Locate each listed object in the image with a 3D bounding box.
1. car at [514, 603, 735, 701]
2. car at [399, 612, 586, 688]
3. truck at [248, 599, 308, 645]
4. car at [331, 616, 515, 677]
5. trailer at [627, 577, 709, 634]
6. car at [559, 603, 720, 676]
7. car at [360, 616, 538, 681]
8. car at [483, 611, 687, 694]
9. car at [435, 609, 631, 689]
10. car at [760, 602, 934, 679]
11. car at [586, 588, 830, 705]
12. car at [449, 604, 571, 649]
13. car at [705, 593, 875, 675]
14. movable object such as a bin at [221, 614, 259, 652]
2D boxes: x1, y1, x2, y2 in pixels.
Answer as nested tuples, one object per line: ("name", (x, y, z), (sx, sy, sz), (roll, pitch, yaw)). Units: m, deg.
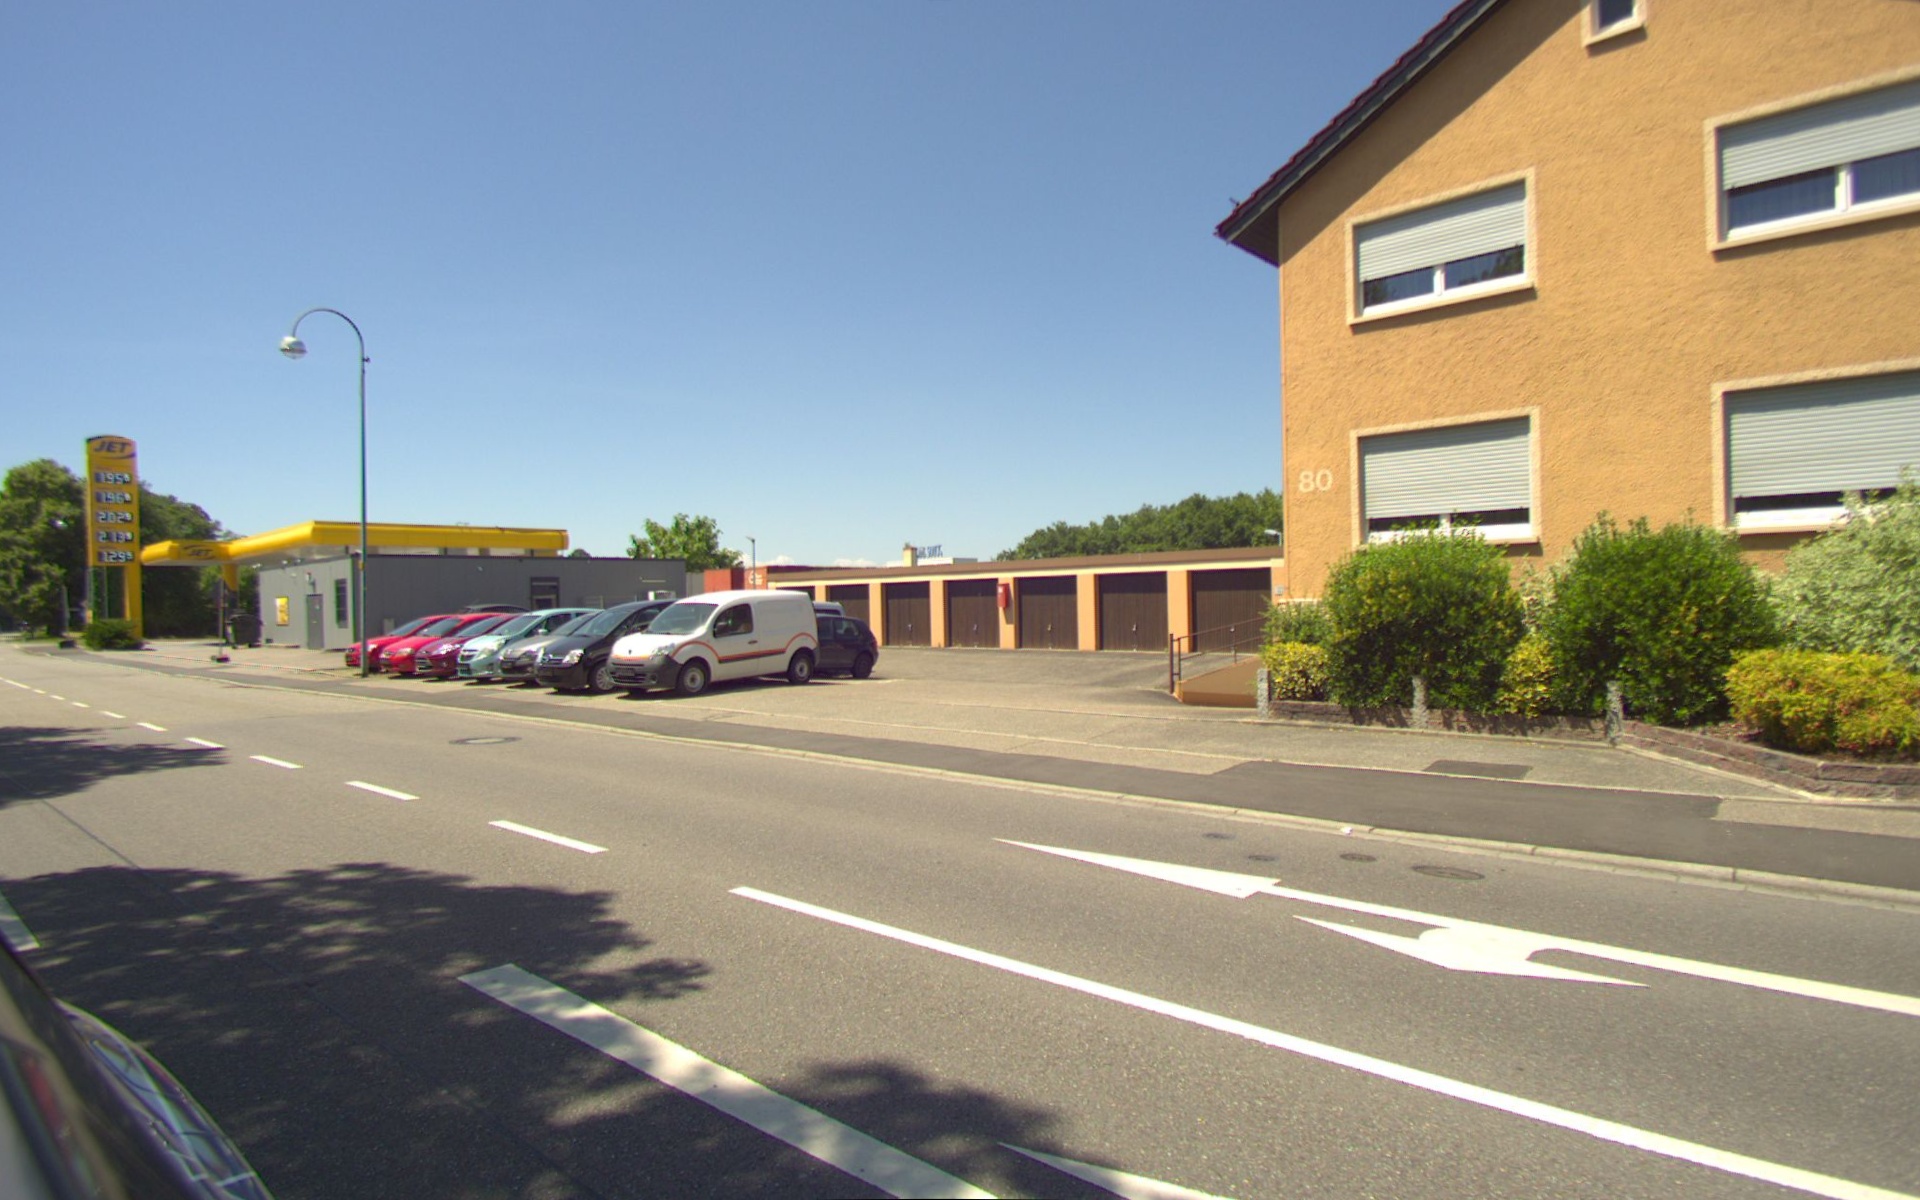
("car", (-6.456, 0.929, 19.741), (1.920, 1.685, 3.628), (-1, 0, 39))
("car", (-11.165, 1.138, 24.335), (1.880, 1.617, 3.628), (-1, 0, 39))
("truck", (-40.947, 1.289, 60.685), (2.206, 2.618, 6.742), (-1, 0, -41))
("car", (-14.669, 1.223, 27.801), (1.826, 1.455, 4.083), (-1, 0, 40))
("trailer", (-17.493, 0.379, 60.466), (5.912, 3.244, 1.845), (-2, -1, 42))
("car", (-8.711, 1.015, 27.721), (1.856, 1.819, 3.811), (-1, 0, 39))
("car", (-13.046, 1.183, 25.979), (1.890, 1.468, 3.628), (-1, 0, 39))
("car", (-7.901, 1.048, 21.542), (1.920, 1.543, 3.628), (-1, 0, 39))
("car", (-9.558, 1.040, 22.842), (1.920, 1.593, 3.628), (-1, 0, 39))
("car", (-2.609, 0.901, 24.168), (1.828, 1.580, 3.948), (-2, 0, 39))
("car", (-4.541, 0.761, 18.764), (1.996, 1.912, 4.057), (-1, 0, 36))
("car", (-17.263, 0.968, 38.948), (1.755, 1.596, 3.942), (-1, 0, 44))
("car", (-4.208, 0.809, 25.480), (1.998, 1.875, 3.863), (-2, -1, 39))
("movable object such as a bin", (-31.336, 1.443, 44.053), (1.427, 1.528, 0.942), (-3, 2, 42))
